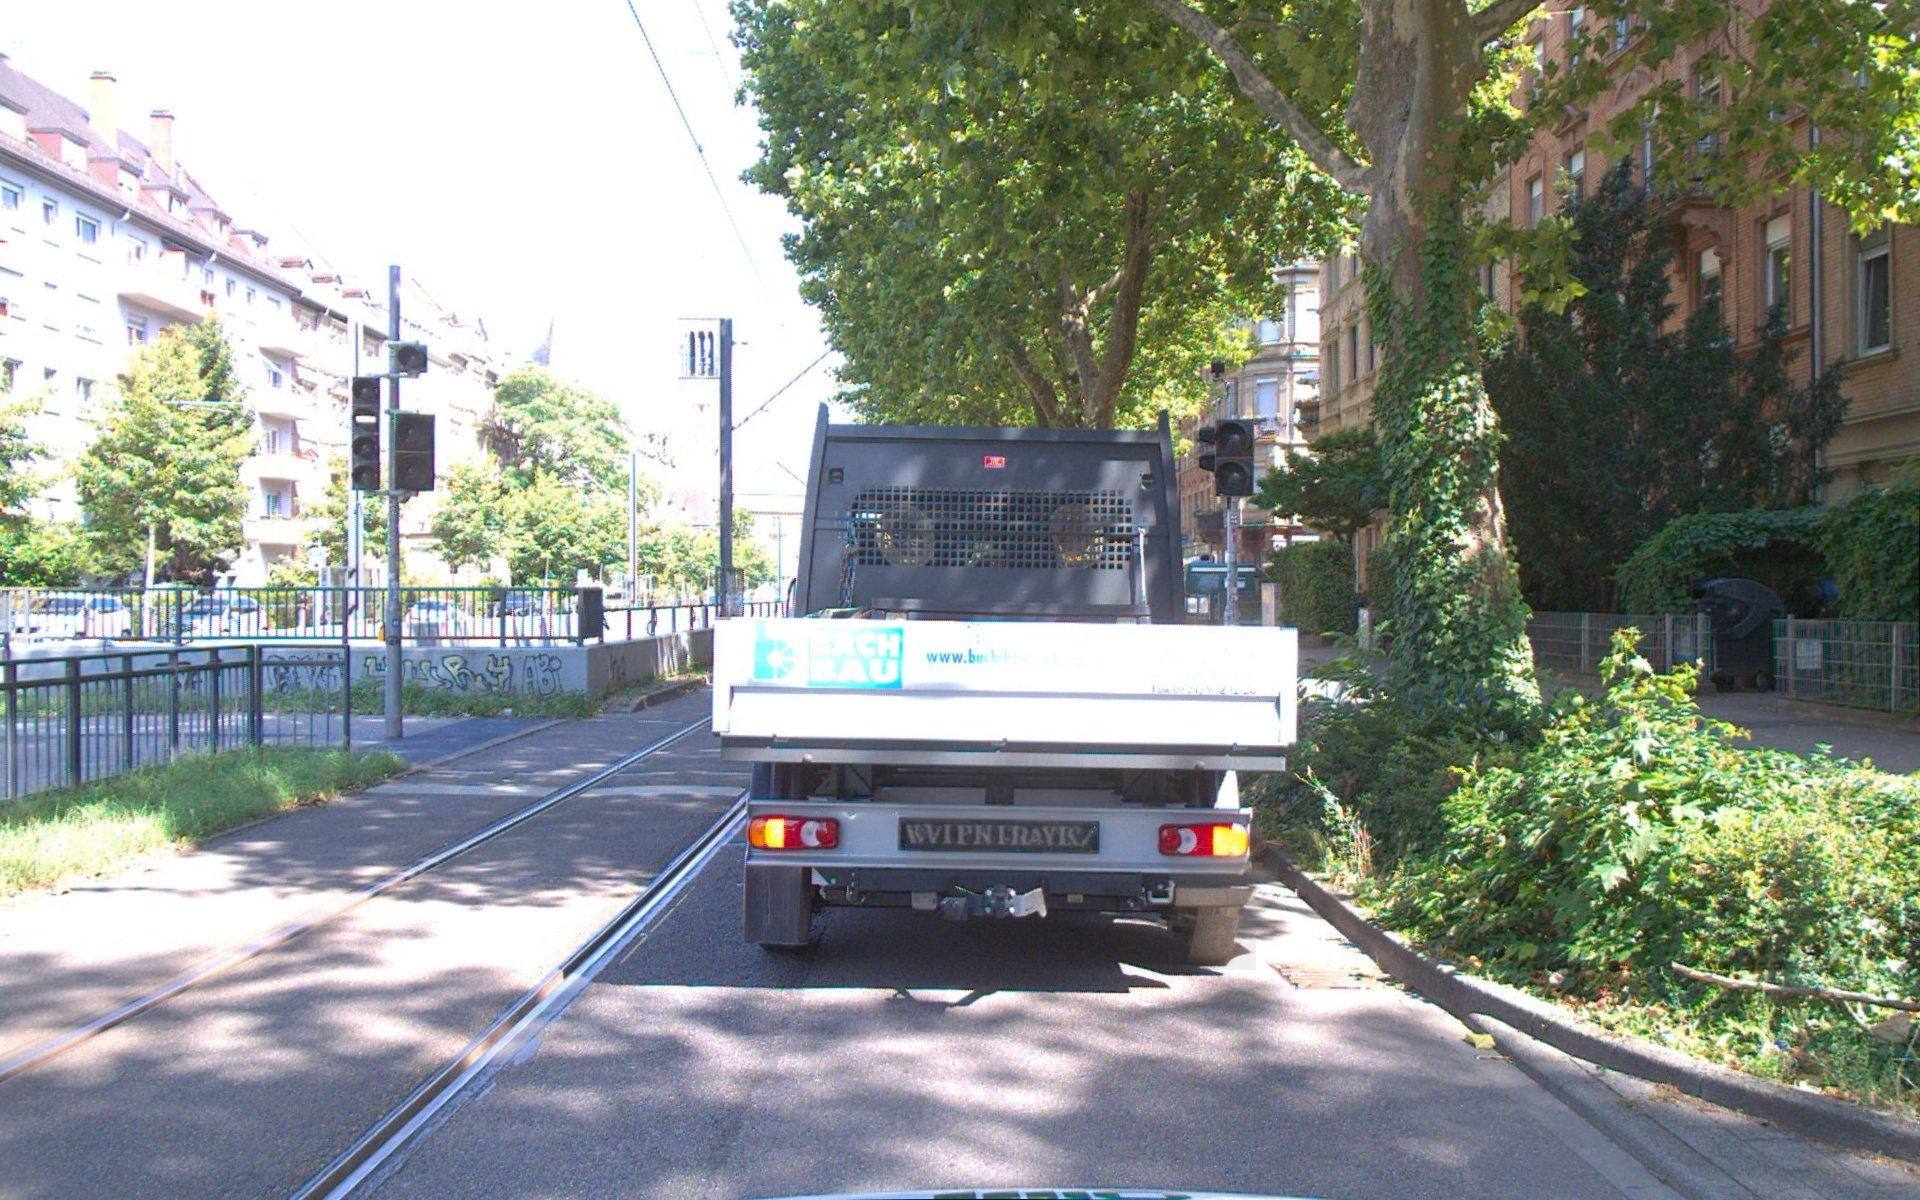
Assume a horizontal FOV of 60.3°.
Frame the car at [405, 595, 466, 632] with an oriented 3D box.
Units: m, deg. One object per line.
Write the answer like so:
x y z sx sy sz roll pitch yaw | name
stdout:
-22.403 0.539 70.761 1.736 1.524 3.994 0 0 -6 | car

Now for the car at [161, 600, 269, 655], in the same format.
-22.124 0.782 49.251 1.737 1.524 3.994 -2 0 -6 | car

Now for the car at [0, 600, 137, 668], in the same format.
-21.942 0.803 40.674 1.737 1.524 3.994 -2 0 -6 | car

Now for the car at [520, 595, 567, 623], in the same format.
-23.170 0.483 92.077 1.735 1.524 3.998 0 0 -2 | car

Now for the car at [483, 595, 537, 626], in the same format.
-22.888 0.504 84.244 1.735 1.524 3.998 0 0 -2 | car

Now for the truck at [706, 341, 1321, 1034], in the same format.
0.190 0.294 7.875 2.094 2.359 4.401 0 0 0 | truck
